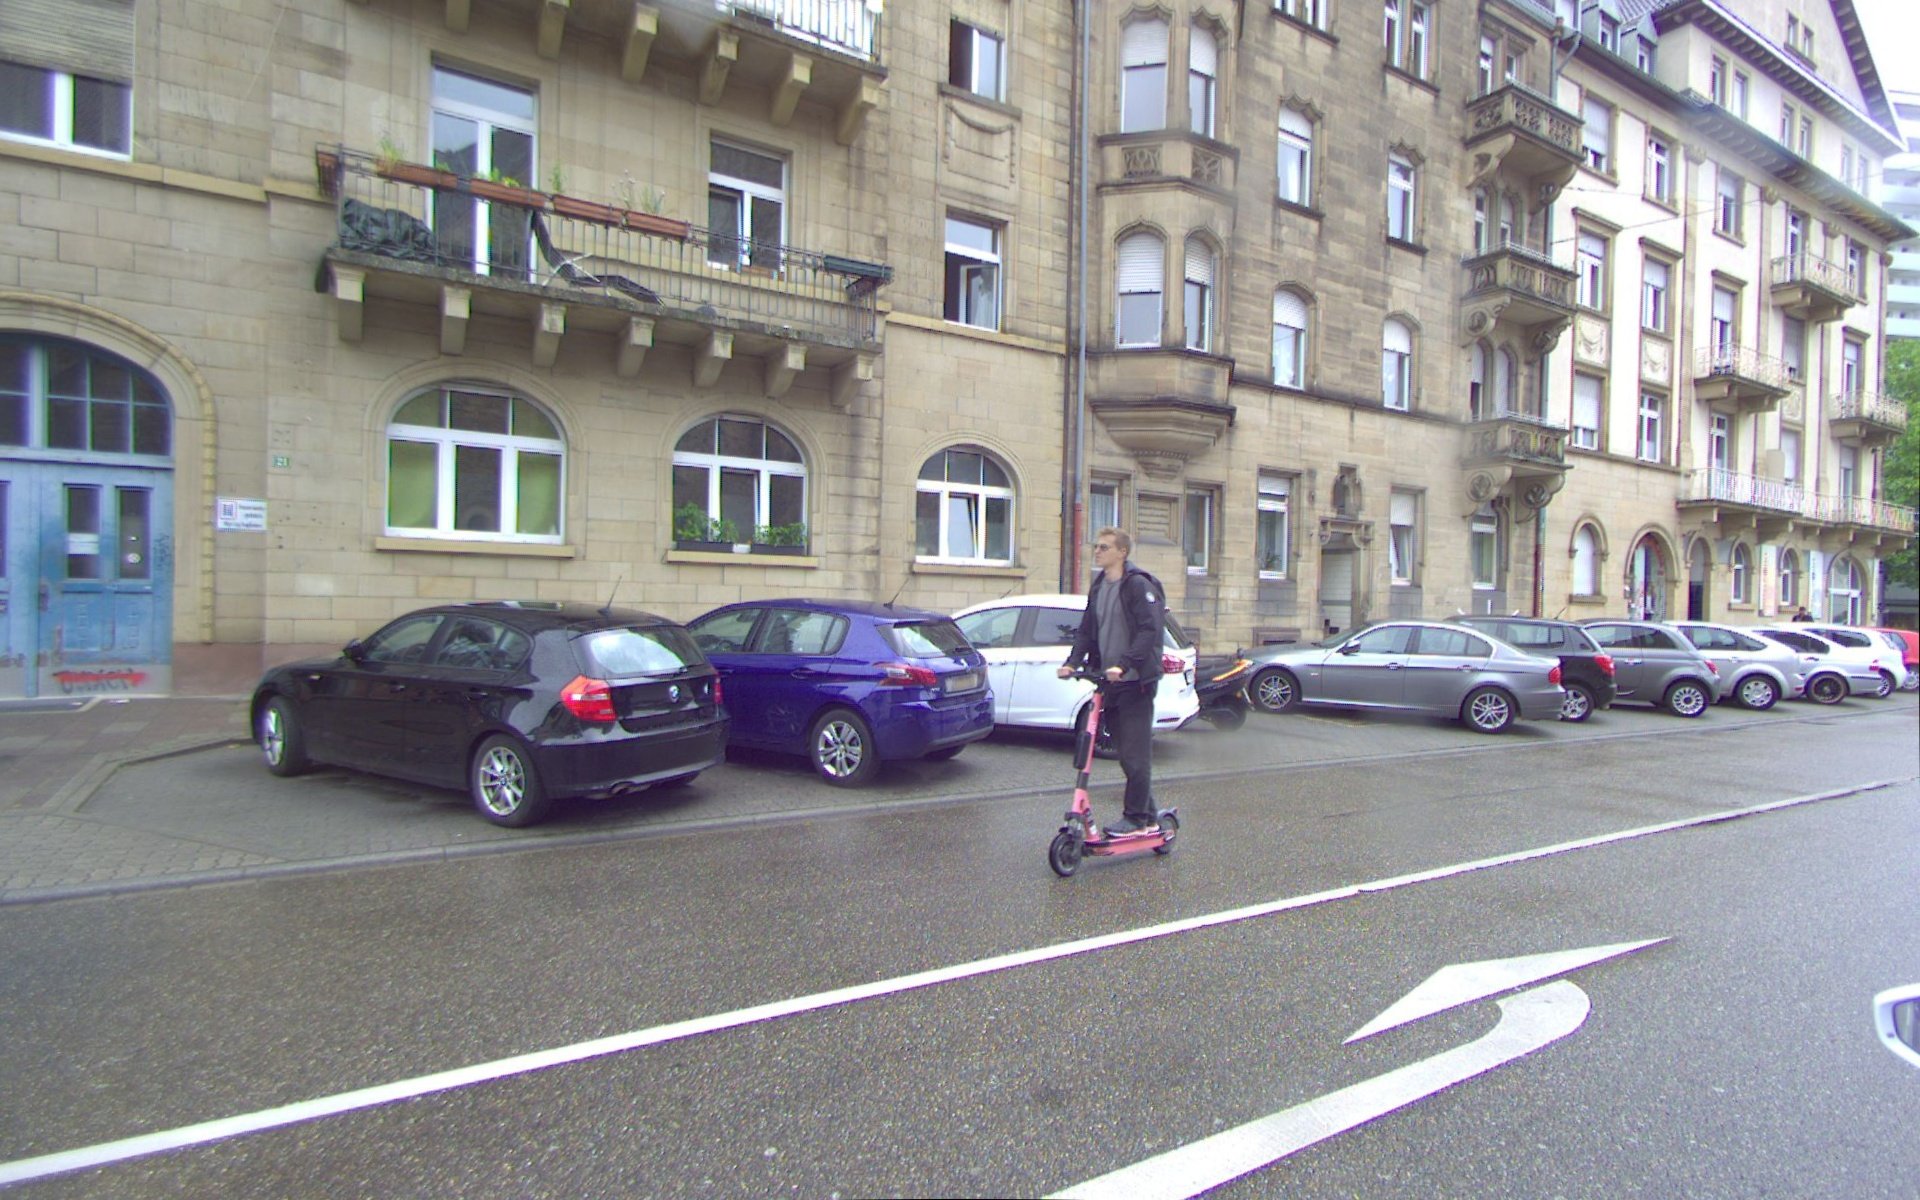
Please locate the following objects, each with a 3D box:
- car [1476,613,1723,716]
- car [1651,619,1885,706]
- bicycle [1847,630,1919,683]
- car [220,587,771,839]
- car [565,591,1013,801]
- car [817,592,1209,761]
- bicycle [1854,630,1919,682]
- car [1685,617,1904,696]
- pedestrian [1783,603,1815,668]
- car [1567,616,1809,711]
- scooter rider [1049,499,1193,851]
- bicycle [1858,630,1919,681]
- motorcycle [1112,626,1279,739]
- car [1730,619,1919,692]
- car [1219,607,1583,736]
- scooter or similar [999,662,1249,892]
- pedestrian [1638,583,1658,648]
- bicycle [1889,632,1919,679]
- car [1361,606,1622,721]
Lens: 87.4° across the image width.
[{"bbox_3d":[10.985,1.050,17.515,3.337,1.578,1.652,1,0,21],"label":"car"},{"bbox_3d":[16.369,1.218,20.559,3.337,1.578,1.705,1,0,21],"label":"car"},{"bbox_3d":[24.123,1.449,25.929,0.516,1.283,1.754,1,-1,-31],"label":"bicycle"},{"bbox_3d":[-3.641,0.695,7.845,3.968,1.532,1.797,1,-1,26],"label":"car"},{"bbox_3d":[-1.673,0.744,9.502,3.973,1.594,1.795,1,-1,31],"label":"car"},{"bbox_3d":[0.625,0.737,11.093,3.964,1.576,1.799,1,-1,20],"label":"car"},{"bbox_3d":[24.579,1.452,26.221,0.492,1.283,1.801,1,-1,-31],"label":"bicycle"},{"bbox_3d":[18.422,1.199,22.359,3.337,1.578,1.705,1,0,21],"label":"car"},{"bbox_3d":[26.778,1.118,32.049,0.647,2.040,0.565,1,0,-30],"label":"pedestrian"},{"bbox_3d":[13.598,1.129,18.987,3.337,1.578,1.705,1,0,21],"label":"car"},{"bbox_3d":[0.954,0.424,6.024,0.498,1.961,0.707,1,-1,-32],"label":"scooter rider"},{"bbox_3d":[25.096,1.474,26.680,0.492,1.283,1.801,1,-1,-31],"label":"bicycle"},{"bbox_3d":[2.862,0.967,12.223,1.837,1.177,0.633,3,1,23],"label":"motorcycle"},{"bbox_3d":[20.796,1.283,24.079,3.337,1.578,1.705,1,0,21],"label":"car"},{"bbox_3d":[6.016,0.926,14.224,4.457,1.565,1.689,1,0,17],"label":"car"},{"bbox_3d":[0.998,0.989,6.052,1.370,1.181,0.697,1,-1,-33],"label":"scooter or similar"},{"bbox_3d":[19.746,0.449,28.814,0.343,1.847,0.364,2,-1,-32],"label":"pedestrian"},{"bbox_3d":[26.757,1.542,27.570,0.601,1.283,1.754,1,-1,-31],"label":"bicycle"},{"bbox_3d":[8.328,0.937,16.075,3.484,1.619,1.605,1,0,21],"label":"car"}]
